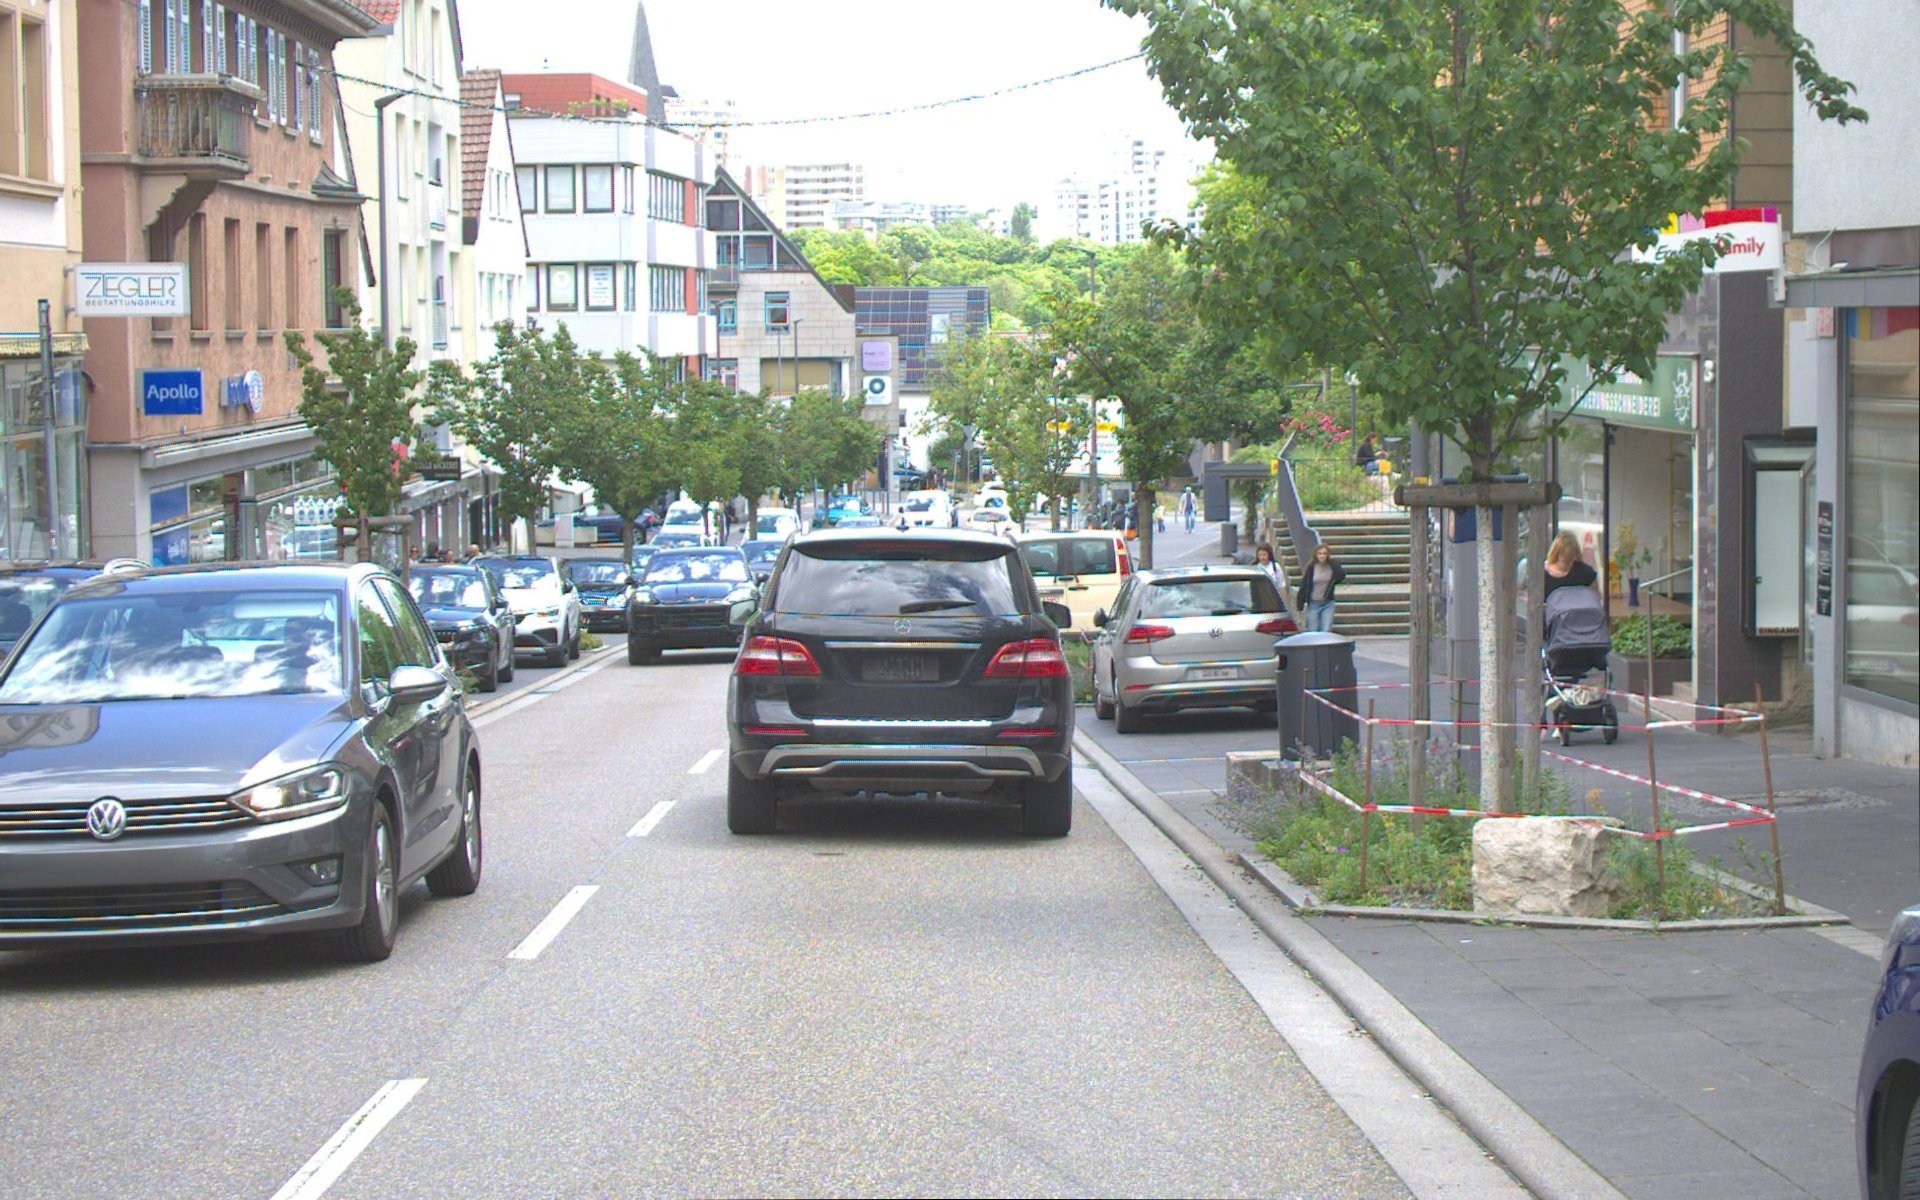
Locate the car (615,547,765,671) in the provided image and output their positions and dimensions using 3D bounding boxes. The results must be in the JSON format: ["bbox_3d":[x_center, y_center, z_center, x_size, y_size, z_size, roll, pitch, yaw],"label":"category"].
[{"bbox_3d":[-4.014,0.102,51.712,1.992,1.712,4.447,-2,1,-2],"label":"car"}]

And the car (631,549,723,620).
[{"bbox_3d":[-6.839,-0.394,83.489,1.926,1.623,4.262,0,1,-1],"label":"car"}]

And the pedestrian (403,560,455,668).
[{"bbox_3d":[-8.298,0.214,53.771,0.727,1.662,0.720,0,1,-2],"label":"pedestrian"}]

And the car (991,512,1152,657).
[{"bbox_3d":[1.542,-0.270,49.146,1.938,1.885,4.707,-3,1,-1],"label":"car"}]

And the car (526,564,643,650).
[{"bbox_3d":[-7.249,0.105,66.687,1.926,1.491,4.263,2,1,-2],"label":"car"}]

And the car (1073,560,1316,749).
[{"bbox_3d":[2.101,0.448,31.826,1.748,1.460,4.075,-4,2,-2],"label":"car"}]

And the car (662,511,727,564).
[{"bbox_3d":[-8.529,-2.030,110.721,1.926,1.623,4.415,2,1,-3],"label":"car"}]

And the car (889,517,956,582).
[{"bbox_3d":[-1.401,-1.902,129.744,2.174,2.356,4.622,-1,1,3],"label":"car"}]

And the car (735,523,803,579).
[{"bbox_3d":[-5.963,-1.551,107.780,1.926,1.623,4.262,2,1,-1],"label":"car"}]

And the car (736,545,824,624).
[{"bbox_3d":[-3.851,-0.355,74.054,1.764,1.611,4.033,-1,1,-2],"label":"car"}]

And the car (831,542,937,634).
[{"bbox_3d":[-1.433,-0.257,65.921,1.926,1.623,4.262,2,1,-1],"label":"car"}]

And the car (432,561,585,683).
[{"bbox_3d":[-6.564,0.287,50.365,1.926,1.590,4.459,2,1,-4],"label":"car"}]

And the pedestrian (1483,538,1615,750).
[{"bbox_3d":[4.573,0.329,26.746,0.735,1.579,1.000,-3,1,-2],"label":"pedestrian"}]

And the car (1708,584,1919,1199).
[{"bbox_3d":[2.567,0.681,4.944,1.748,1.492,3.801,-3,0,-6],"label":"car"}]

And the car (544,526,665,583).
[{"bbox_3d":[-12.184,-1.552,118.044,3.986,1.744,2.000,-3,1,-4],"label":"car"}]

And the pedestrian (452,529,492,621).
[{"bbox_3d":[-8.836,-0.462,62.309,0.641,1.662,0.720,0,1,-2],"label":"pedestrian"}]

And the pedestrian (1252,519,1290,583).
[{"bbox_3d":[9.541,-1.498,105.345,1.050,1.906,0.937,-3,1,6],"label":"pedestrian"}]

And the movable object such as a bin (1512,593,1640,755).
[{"bbox_3d":[4.620,0.545,25.845,0.721,1.154,0.907,-3,1,-2],"label":"movable object such as a bin"}]

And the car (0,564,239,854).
[{"bbox_3d":[-5.927,0.587,21.667,1.926,1.616,4.640,1,1,-2],"label":"car"}]

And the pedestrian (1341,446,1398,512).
[{"bbox_3d":[7.807,-2.294,65.574,0.990,1.227,0.984,0,0,1],"label":"pedestrian"}]

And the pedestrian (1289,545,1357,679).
[{"bbox_3d":[4.505,0.145,42.712,0.671,1.627,0.670,-3,1,-3],"label":"pedestrian"}]

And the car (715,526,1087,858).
[{"bbox_3d":[-0.335,0.444,20.294,1.943,1.734,4.179,1,1,-1],"label":"car"}]

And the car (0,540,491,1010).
[{"bbox_3d":[-3.108,0.615,14.280,1.819,1.612,4.136,-3,0,-2],"label":"car"}]

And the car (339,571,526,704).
[{"bbox_3d":[-6.544,0.427,43.071,1.926,1.491,4.263,-1,1,-4],"label":"car"}]

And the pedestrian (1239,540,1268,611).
[{"bbox_3d":[6.616,-0.550,77.482,0.568,1.581,0.666,-1,0,8],"label":"pedestrian"}]

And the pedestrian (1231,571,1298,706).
[{"bbox_3d":[3.772,0.472,42.634,0.671,1.627,0.670,-3,1,-3],"label":"pedestrian"}]

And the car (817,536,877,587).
[{"bbox_3d":[-3.506,-1.205,107.092,1.812,1.503,4.000,-1,1,-2],"label":"car"}]
